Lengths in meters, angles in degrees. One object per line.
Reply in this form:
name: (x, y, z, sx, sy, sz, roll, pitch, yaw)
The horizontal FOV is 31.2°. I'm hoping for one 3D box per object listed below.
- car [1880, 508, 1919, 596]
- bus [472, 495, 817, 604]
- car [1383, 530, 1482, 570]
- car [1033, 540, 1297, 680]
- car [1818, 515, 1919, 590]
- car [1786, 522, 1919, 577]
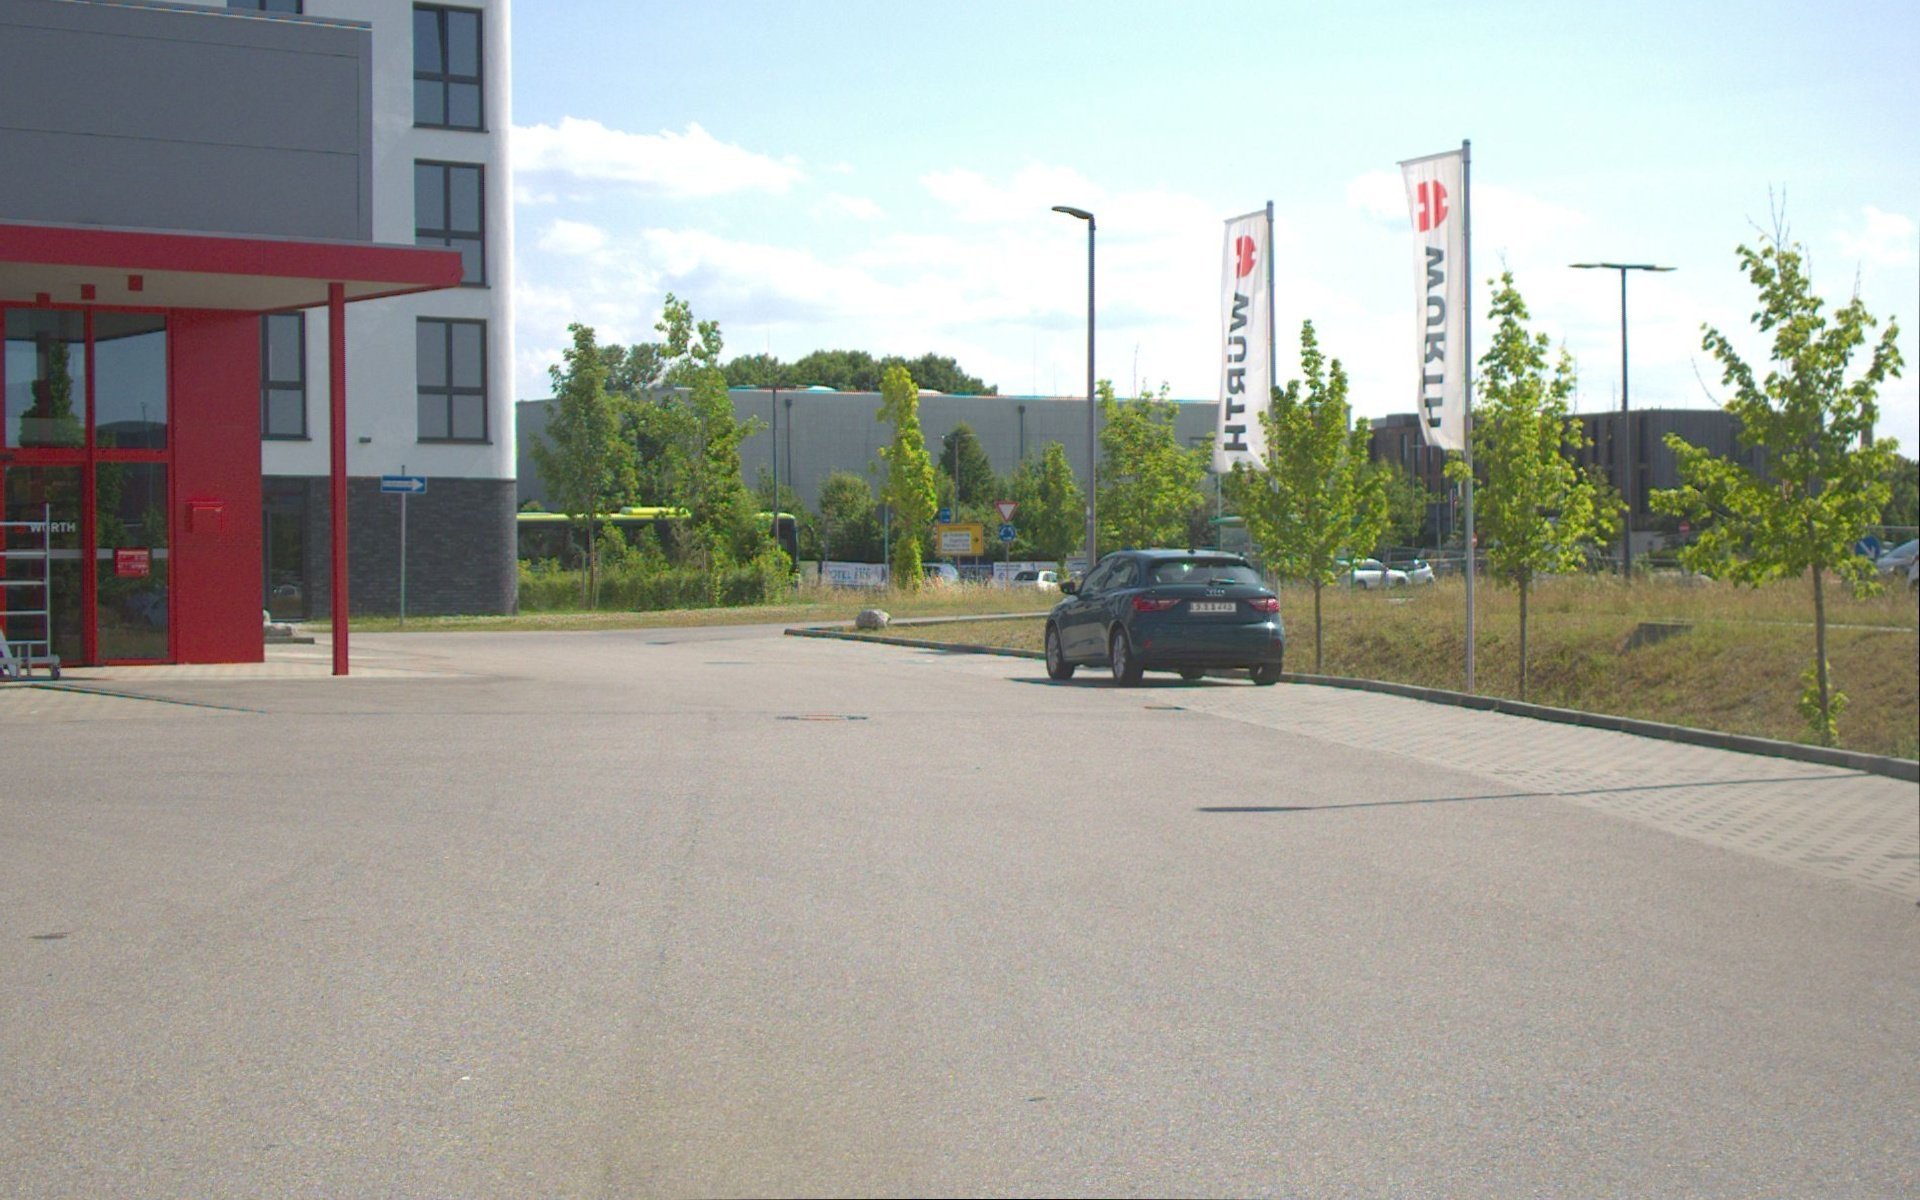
car: (17.479, -0.789, 57.477, 1.872, 1.478, 4.001, -1, 2, -26)
bus: (-10.537, -1.737, 115.268, 11.211, 3.545, 2.576, -1, 2, -19)
car: (20.181, -2.159, 146.820, 3.946, 1.652, 1.906, -1, 2, -35)
car: (2.120, 0.072, 36.698, 1.698, 1.401, 3.898, 0, 1, -14)
car: (20.709, -1.047, 74.979, 3.654, 1.592, 1.715, -1, 2, -27)
car: (23.293, -1.318, 88.965, 3.704, 1.390, 1.590, -1, 1, -32)
